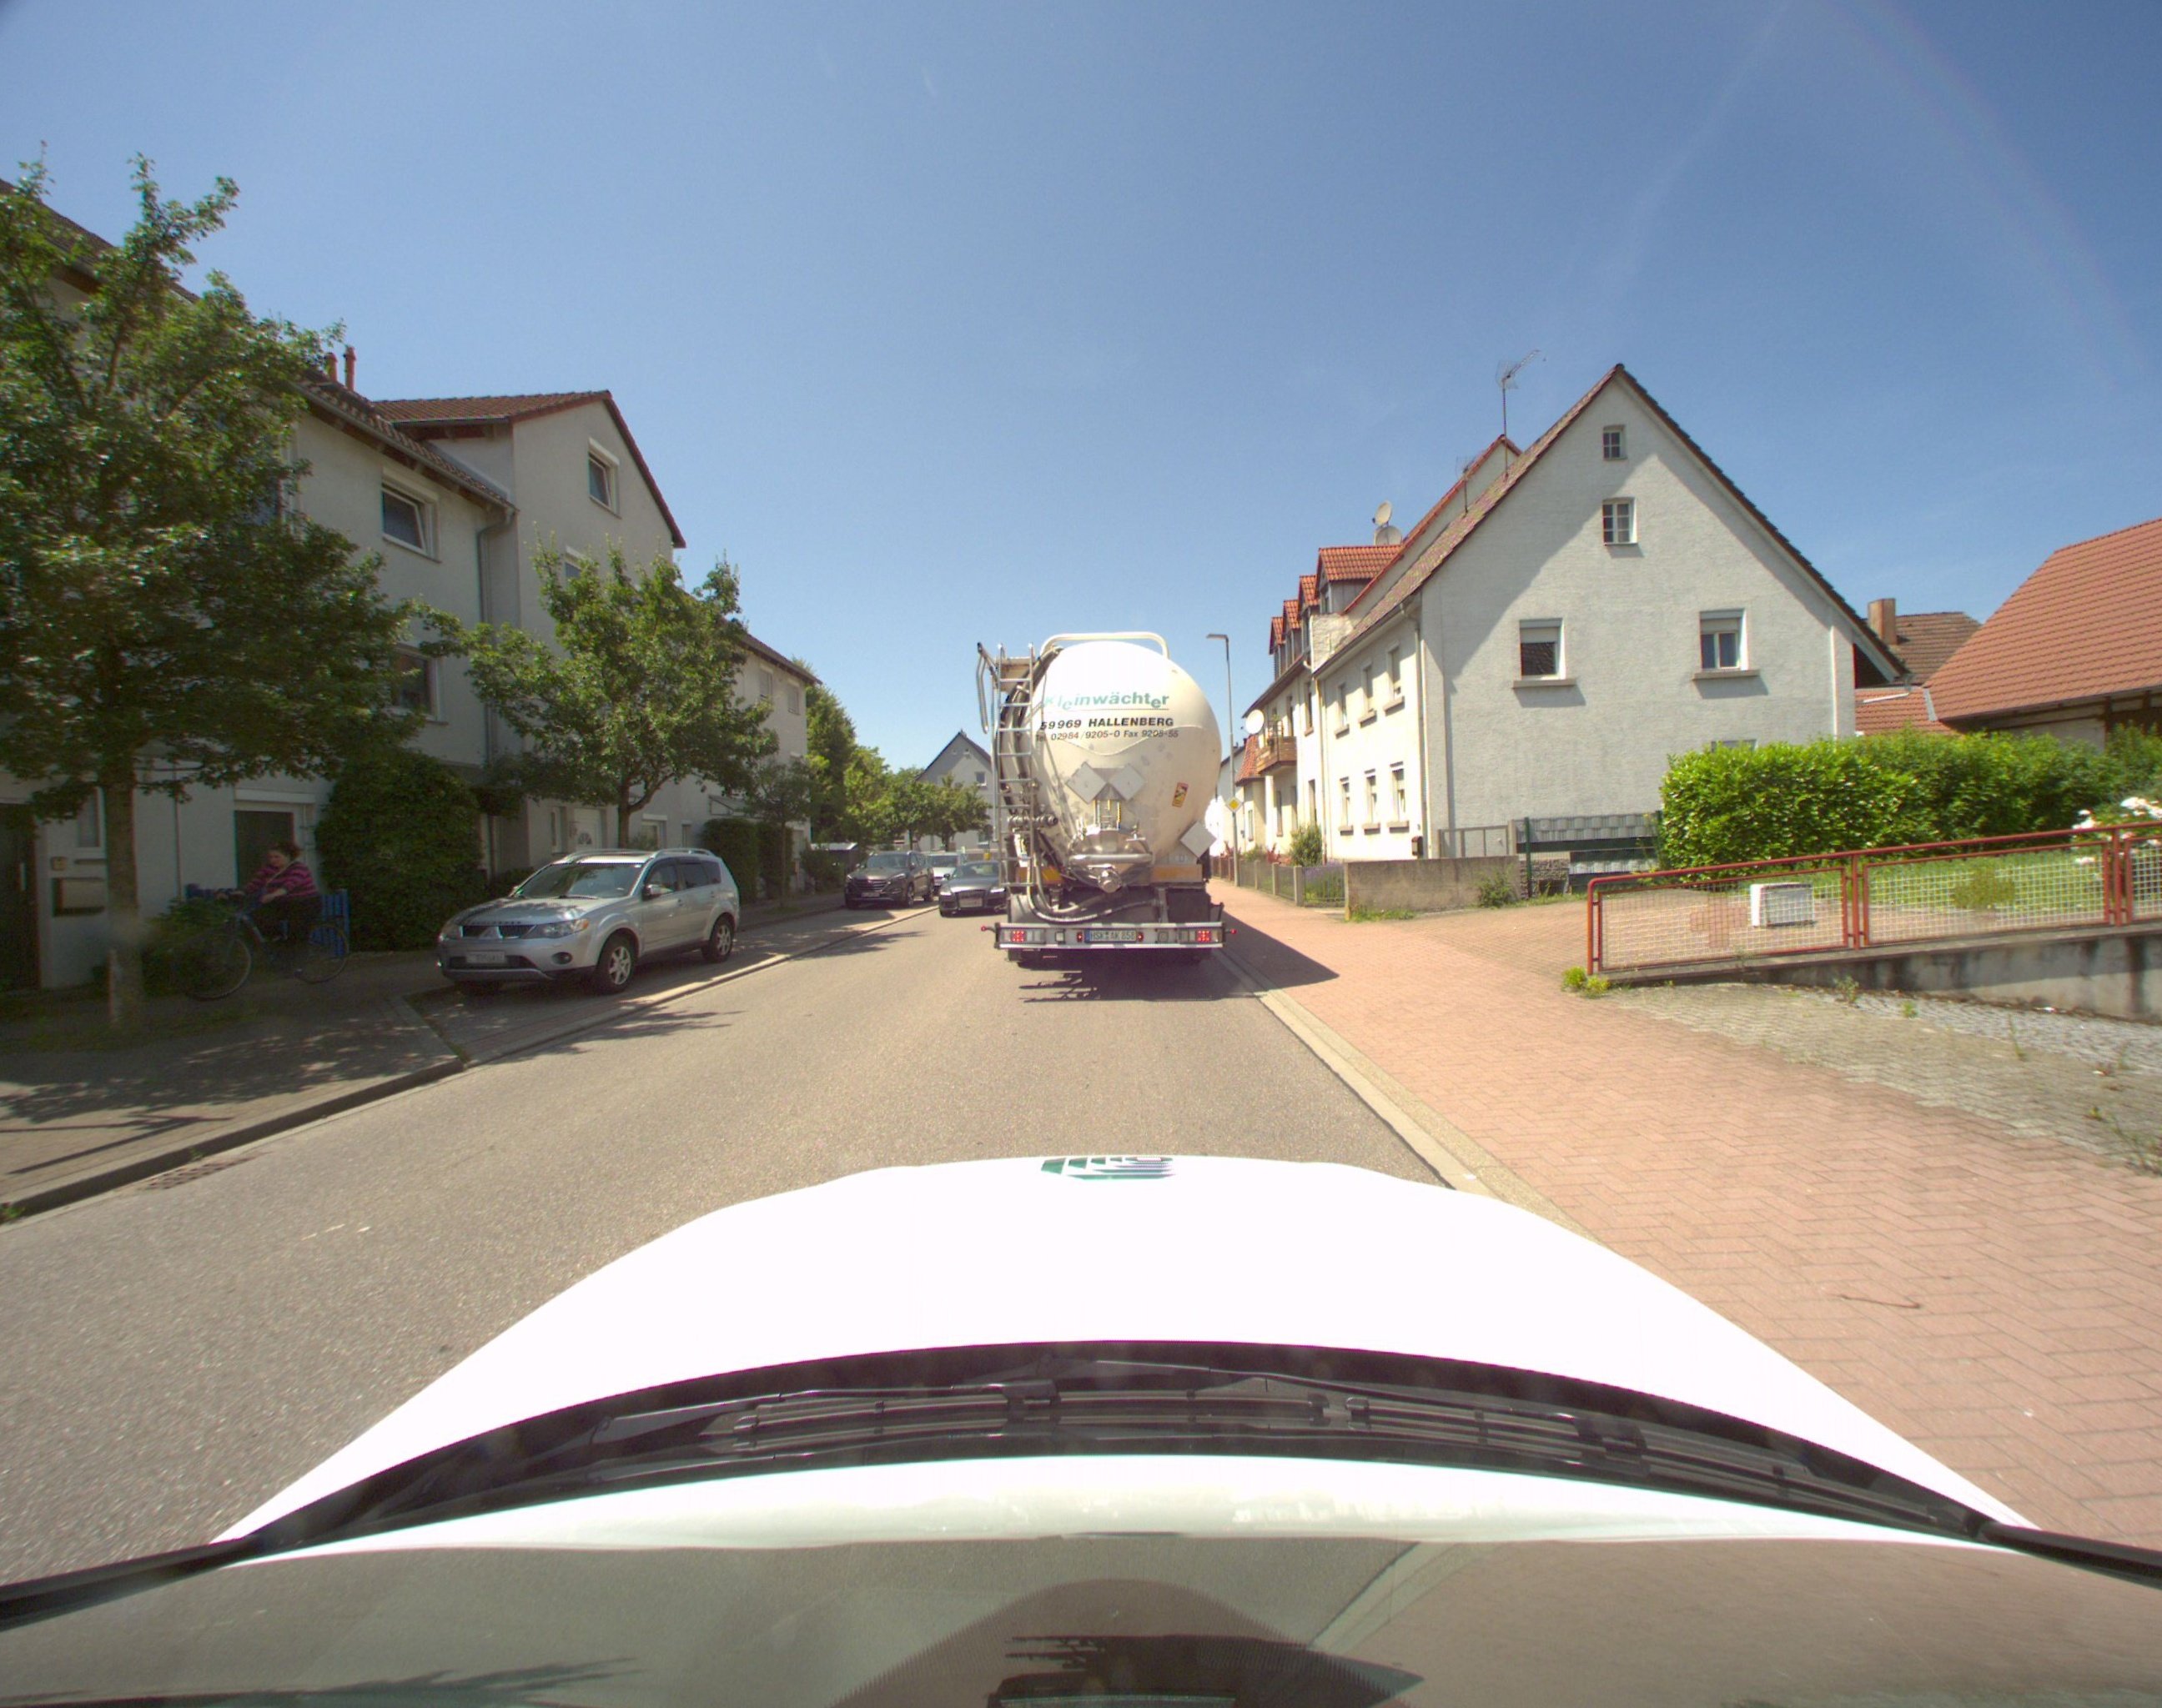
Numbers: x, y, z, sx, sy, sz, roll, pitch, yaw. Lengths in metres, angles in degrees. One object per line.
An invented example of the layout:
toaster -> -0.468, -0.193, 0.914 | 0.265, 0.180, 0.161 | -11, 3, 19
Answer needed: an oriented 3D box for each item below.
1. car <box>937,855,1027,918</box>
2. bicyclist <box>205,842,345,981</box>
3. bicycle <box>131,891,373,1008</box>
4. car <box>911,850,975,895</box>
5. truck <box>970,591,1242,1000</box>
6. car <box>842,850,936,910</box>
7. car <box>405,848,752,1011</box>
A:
car -> -2.526, 0.781, 21.585 | 1.700, 1.370, 3.870 | -4, 0, 2
bicyclist -> -9.095, 0.619, 9.233 | 0.657, 1.494, 0.909 | 1, 0, -2
bicycle -> -9.096, 0.993, 9.084 | 0.669, 1.056, 2.025 | 0, 0, -2
car -> -5.220, 0.672, 31.243 | 1.691, 1.580, 3.839 | -1, 0, 1
truck -> 0.306, -0.618, 12.864 | 2.632, 4.015, 9.562 | -1, 0, 1
car -> -5.670, 0.714, 24.516 | 1.685, 1.620, 4.000 | -1, 0, 2
car -> -6.197, 0.776, 10.822 | 1.700, 1.686, 4.527 | -1, 0, 1
